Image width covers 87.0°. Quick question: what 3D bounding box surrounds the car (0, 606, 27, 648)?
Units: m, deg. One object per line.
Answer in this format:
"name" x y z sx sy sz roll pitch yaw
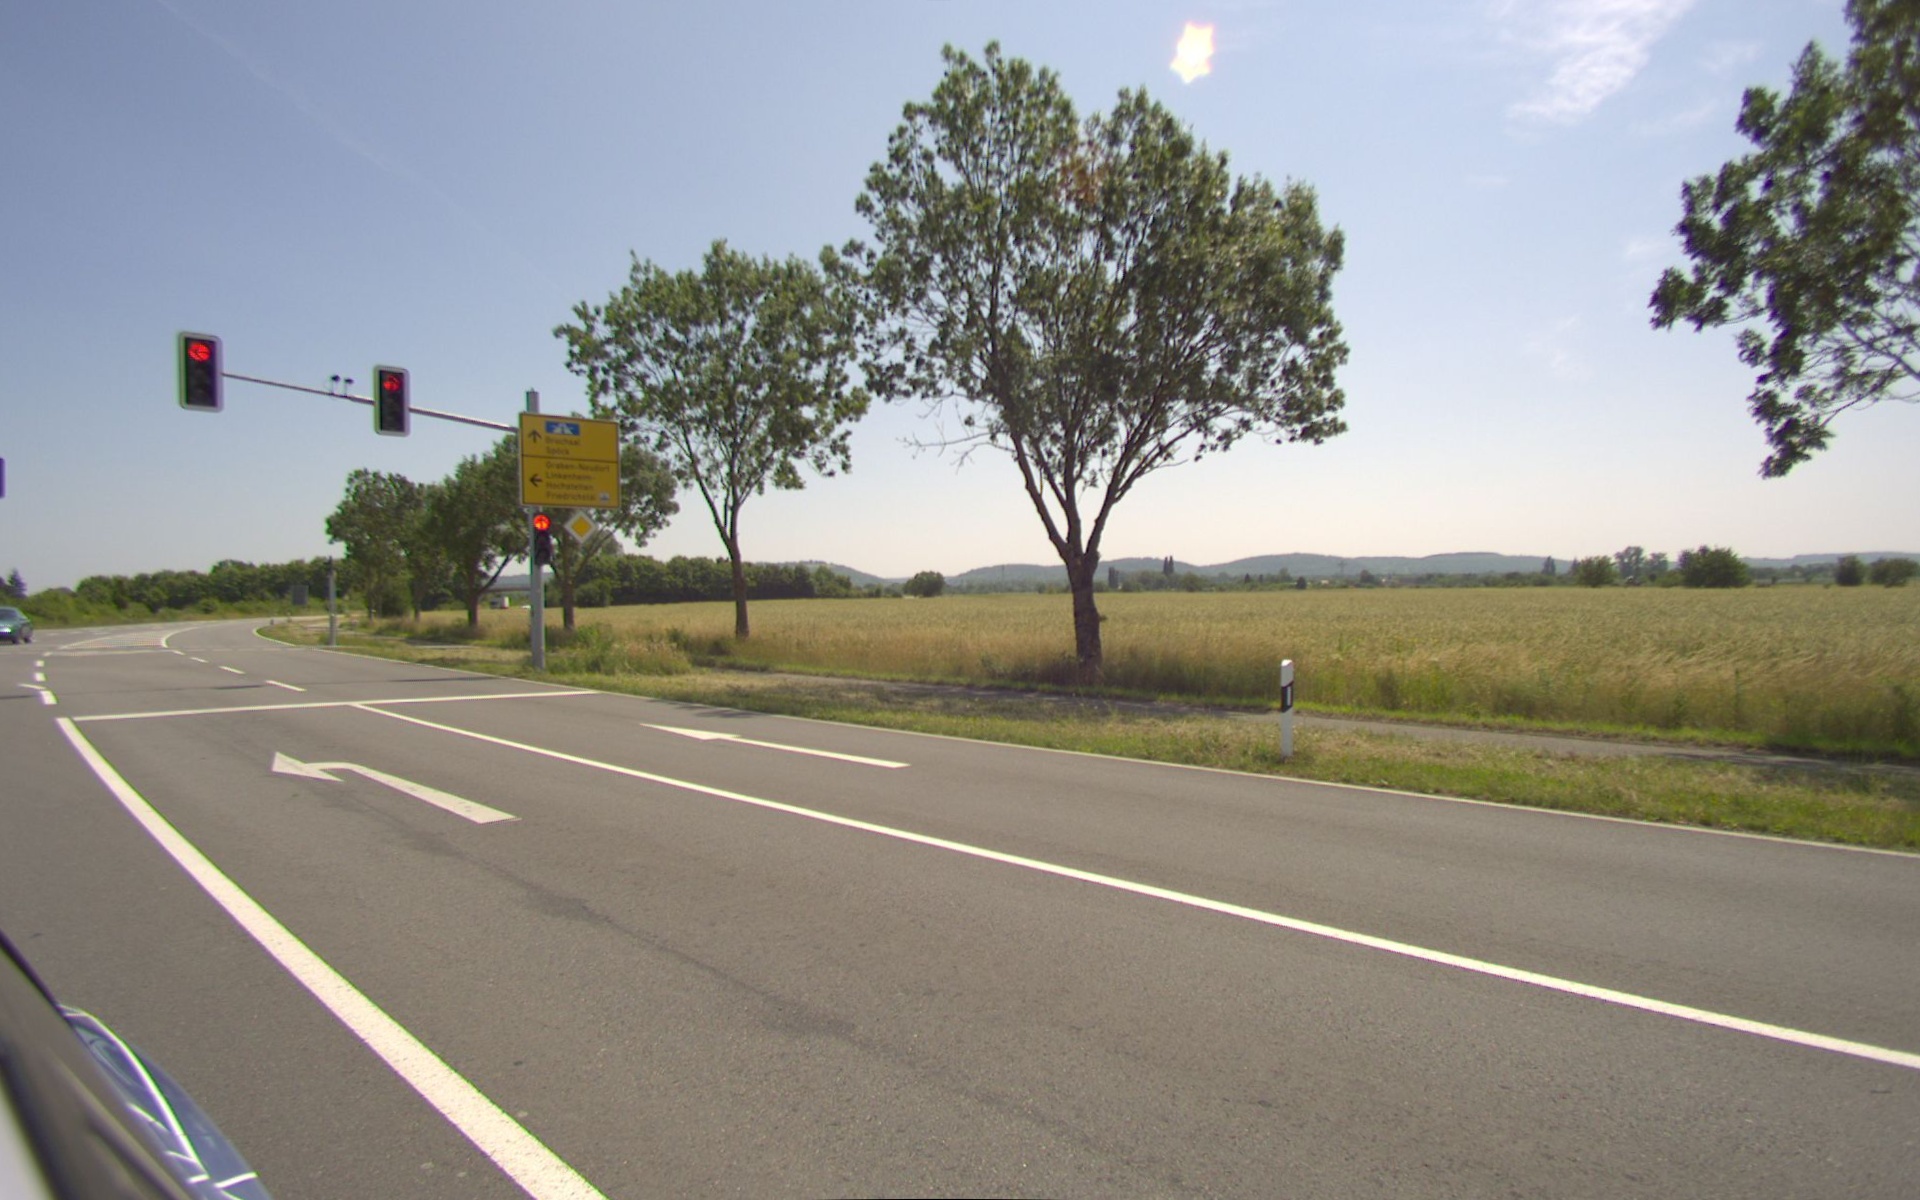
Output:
"car" -37.184 1.034 38.803 1.631 1.578 4.009 0 -1 -37
